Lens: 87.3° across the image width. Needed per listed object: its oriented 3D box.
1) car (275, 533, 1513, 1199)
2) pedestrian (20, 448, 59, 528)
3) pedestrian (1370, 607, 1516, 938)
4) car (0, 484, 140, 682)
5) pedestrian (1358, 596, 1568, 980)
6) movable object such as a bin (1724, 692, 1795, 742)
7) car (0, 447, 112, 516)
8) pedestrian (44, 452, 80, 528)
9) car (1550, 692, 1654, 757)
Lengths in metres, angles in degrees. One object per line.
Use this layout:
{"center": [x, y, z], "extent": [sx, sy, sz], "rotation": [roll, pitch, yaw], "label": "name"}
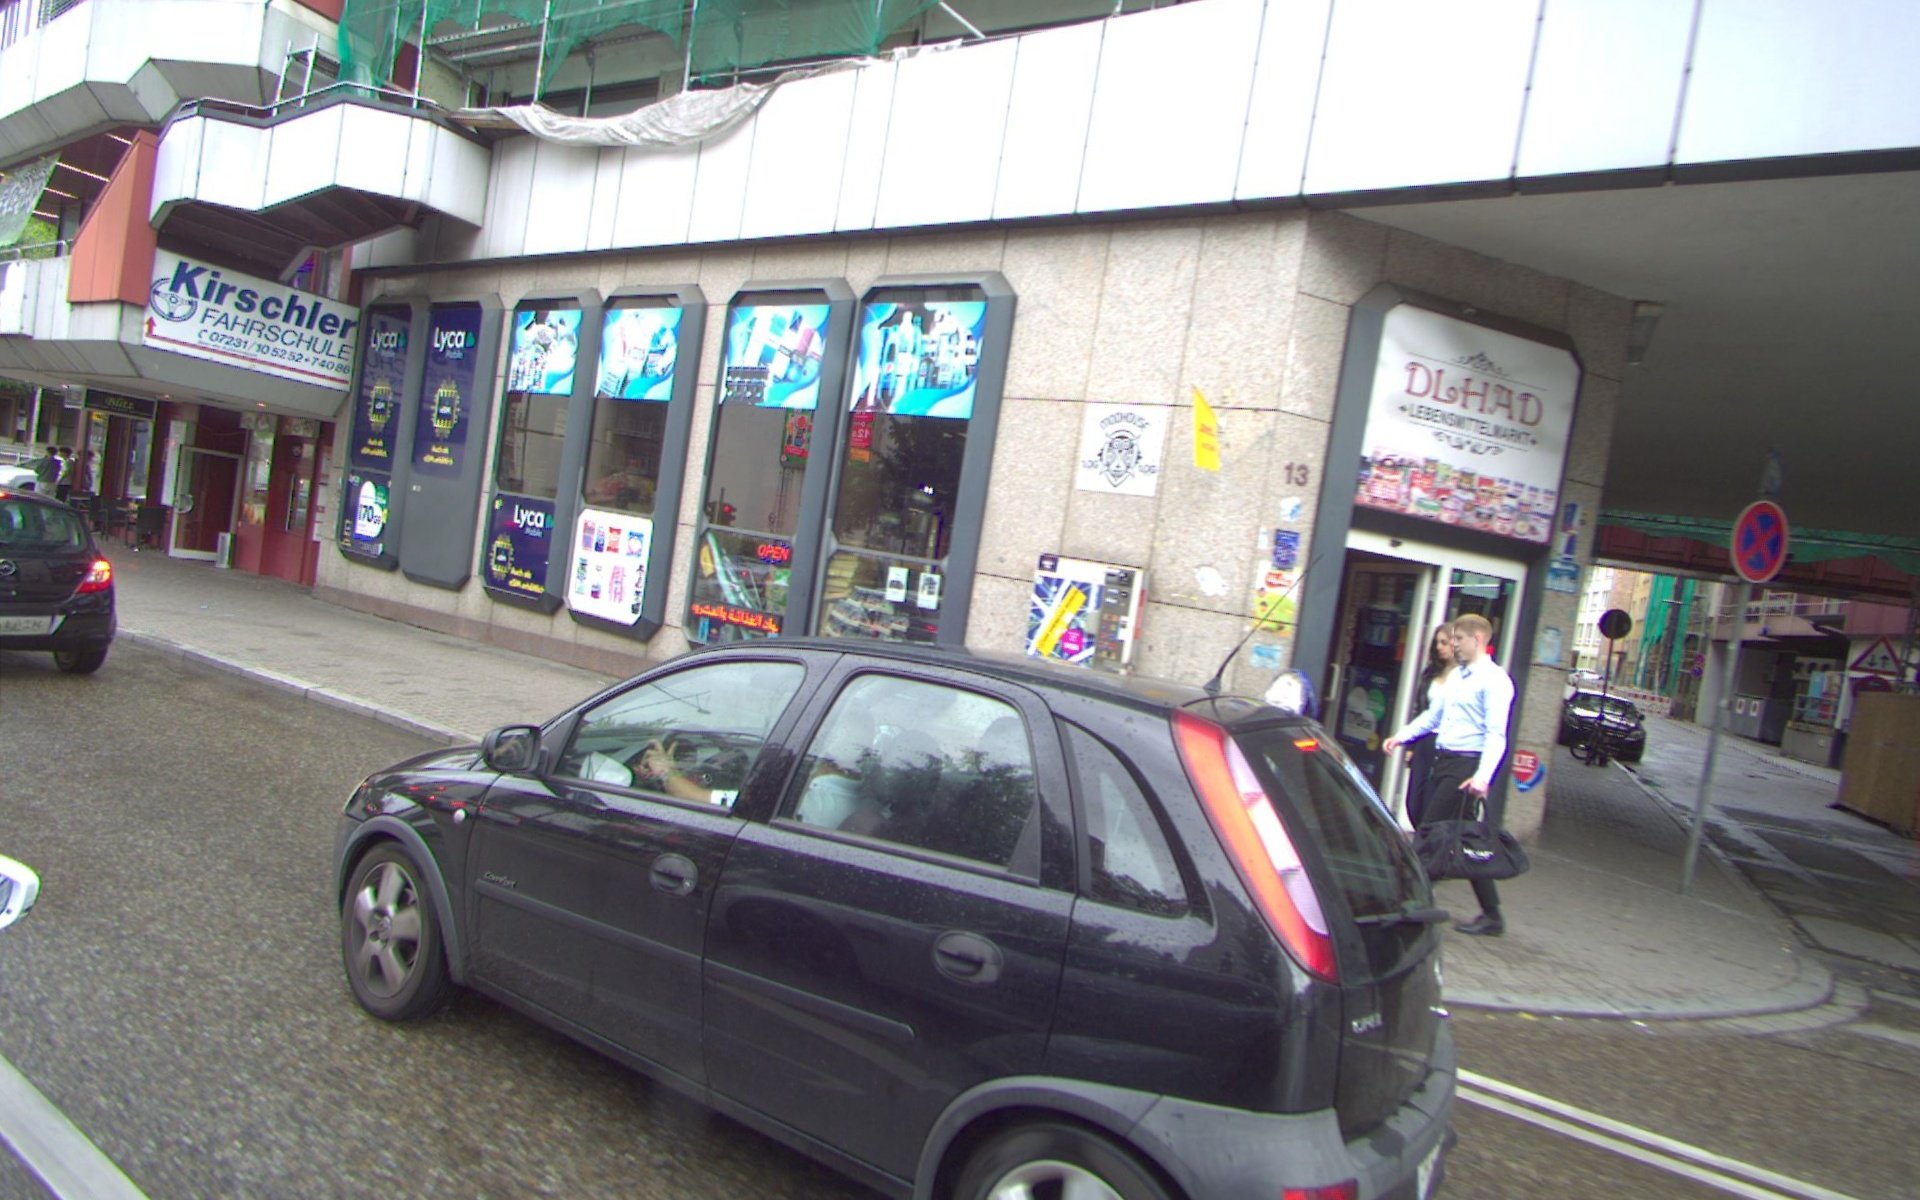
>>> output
{"center": [-0.390, 0.765, 3.226], "extent": [3.563, 1.446, 1.609], "rotation": [8, -1, 33], "label": "car"}
{"center": [-20.423, -2.489, 22.325], "extent": [0.443, 1.704, 0.426], "rotation": [6, 1, 30], "label": "pedestrian"}
{"center": [3.146, 1.082, 6.583], "extent": [0.629, 1.957, 0.738], "rotation": [6, -1, 26], "label": "pedestrian"}
{"center": [-8.831, -0.350, 8.393], "extent": [3.775, 1.446, 1.621], "rotation": [8, -1, 28], "label": "car"}
{"center": [2.811, 1.007, 5.699], "extent": [0.628, 1.957, 0.739], "rotation": [7, -1, 2], "label": "pedestrian"}
{"center": [38.510, 5.603, 48.533], "extent": [1.456, 2.115, 3.842], "rotation": [6, -2, 22], "label": "movable object such as a bin"}
{"center": [-27.607, -3.572, 29.415], "extent": [1.593, 1.503, 3.911], "rotation": [6, -2, 19], "label": "car"}
{"center": [-20.451, -2.502, 22.909], "extent": [0.496, 1.660, 0.396], "rotation": [6, 1, 32], "label": "pedestrian"}
{"center": [16.070, 3.098, 25.353], "extent": [1.787, 1.275, 4.060], "rotation": [6, -2, 28], "label": "car"}
